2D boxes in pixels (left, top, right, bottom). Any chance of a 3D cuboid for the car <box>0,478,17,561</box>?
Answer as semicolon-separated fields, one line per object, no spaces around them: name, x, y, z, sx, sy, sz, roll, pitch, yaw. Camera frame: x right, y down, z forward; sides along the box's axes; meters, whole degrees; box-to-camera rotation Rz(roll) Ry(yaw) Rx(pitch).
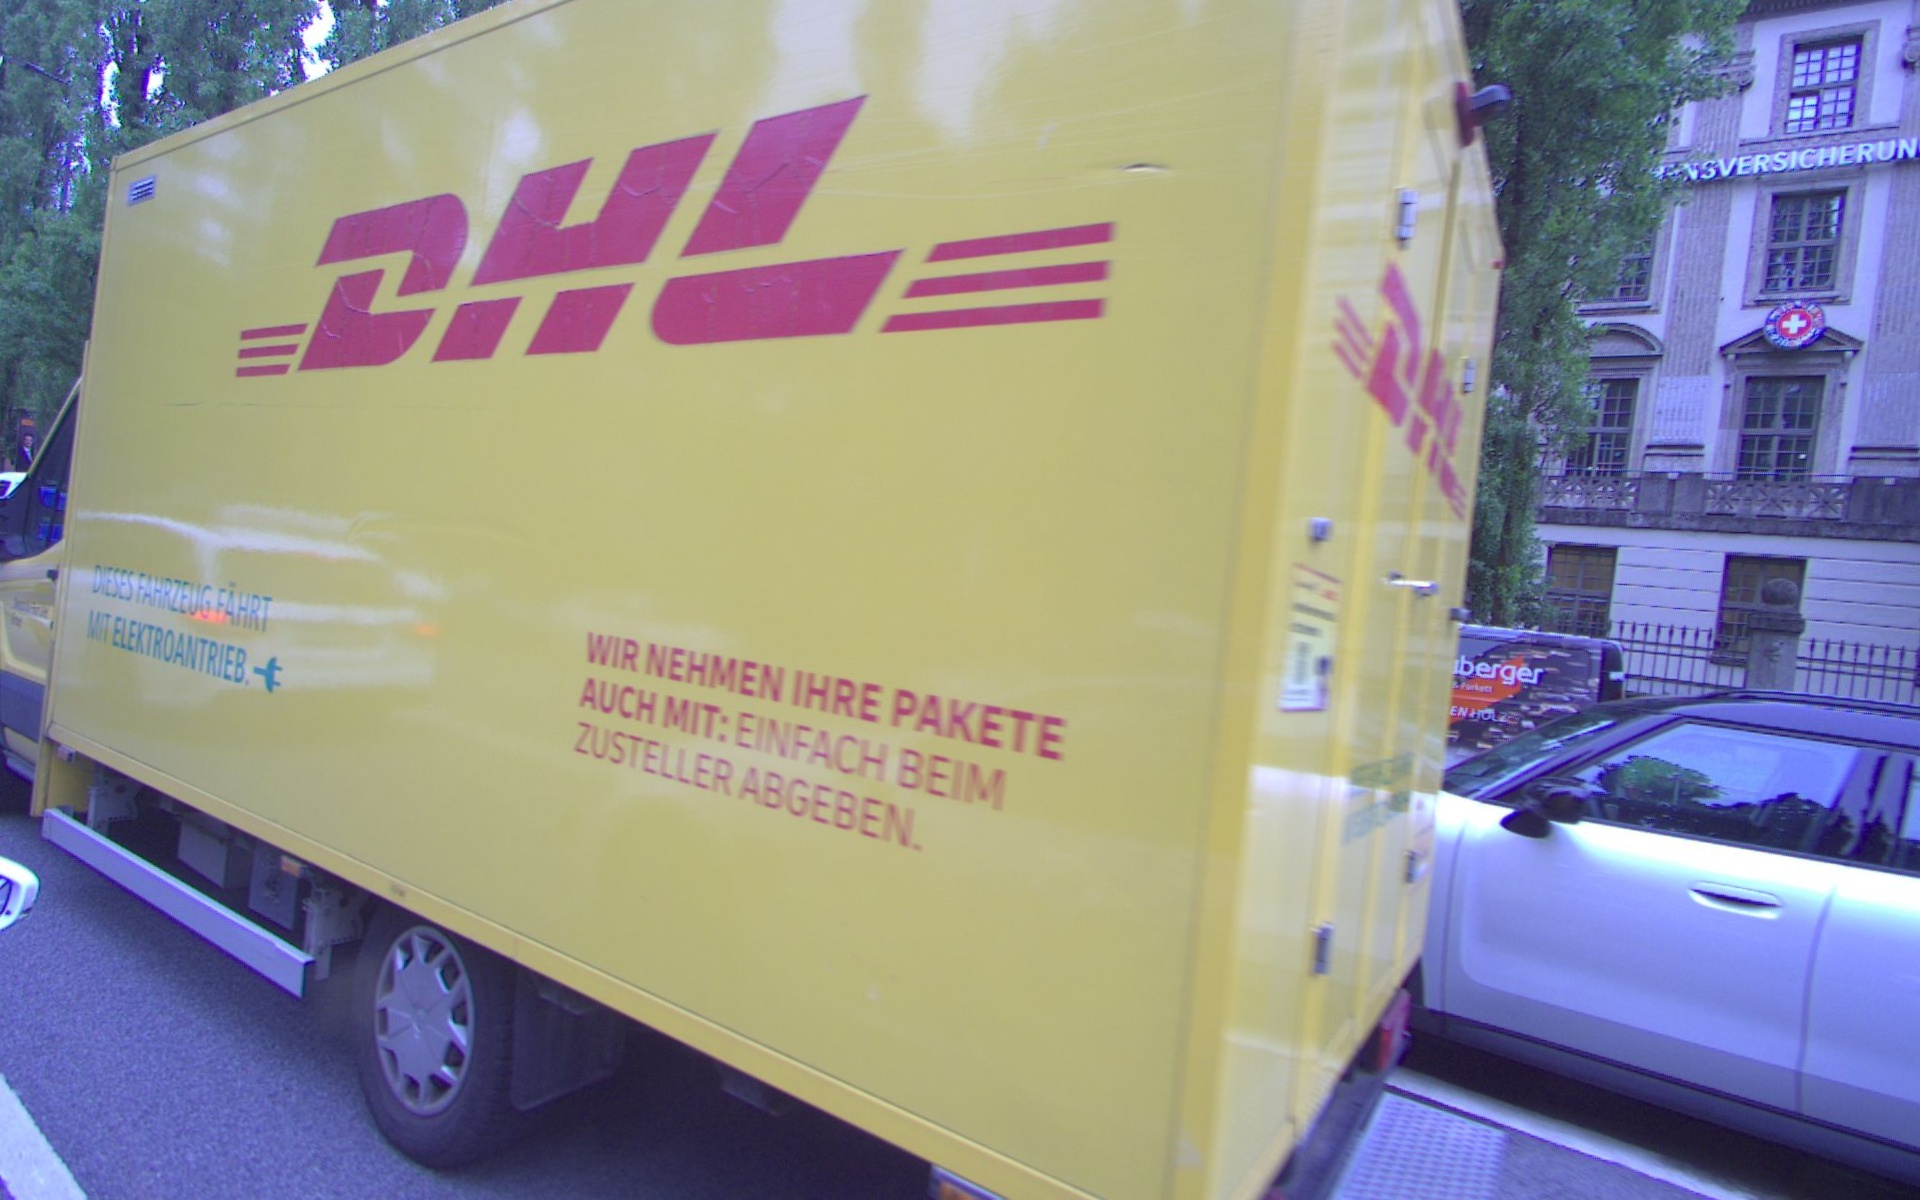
car;-20.790;-1.852;20.262;4.022;1.615;1.679;7;-1;34

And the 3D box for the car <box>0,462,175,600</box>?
car;-14.907;-1.194;16.473;4.161;1.794;1.836;7;-2;33

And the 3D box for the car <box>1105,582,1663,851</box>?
car;4.538;1.098;11.293;5.238;1.949;1.995;7;0;33

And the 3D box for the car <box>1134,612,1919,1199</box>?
car;3.009;1.147;3.918;4.080;1.600;1.784;7;-2;34

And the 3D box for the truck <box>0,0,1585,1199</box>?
truck;-1.847;-0.218;4.127;7.213;2.934;2.329;7;0;33

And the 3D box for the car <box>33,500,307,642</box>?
car;-10.556;-0.413;13.359;3.937;1.370;1.747;7;0;35
